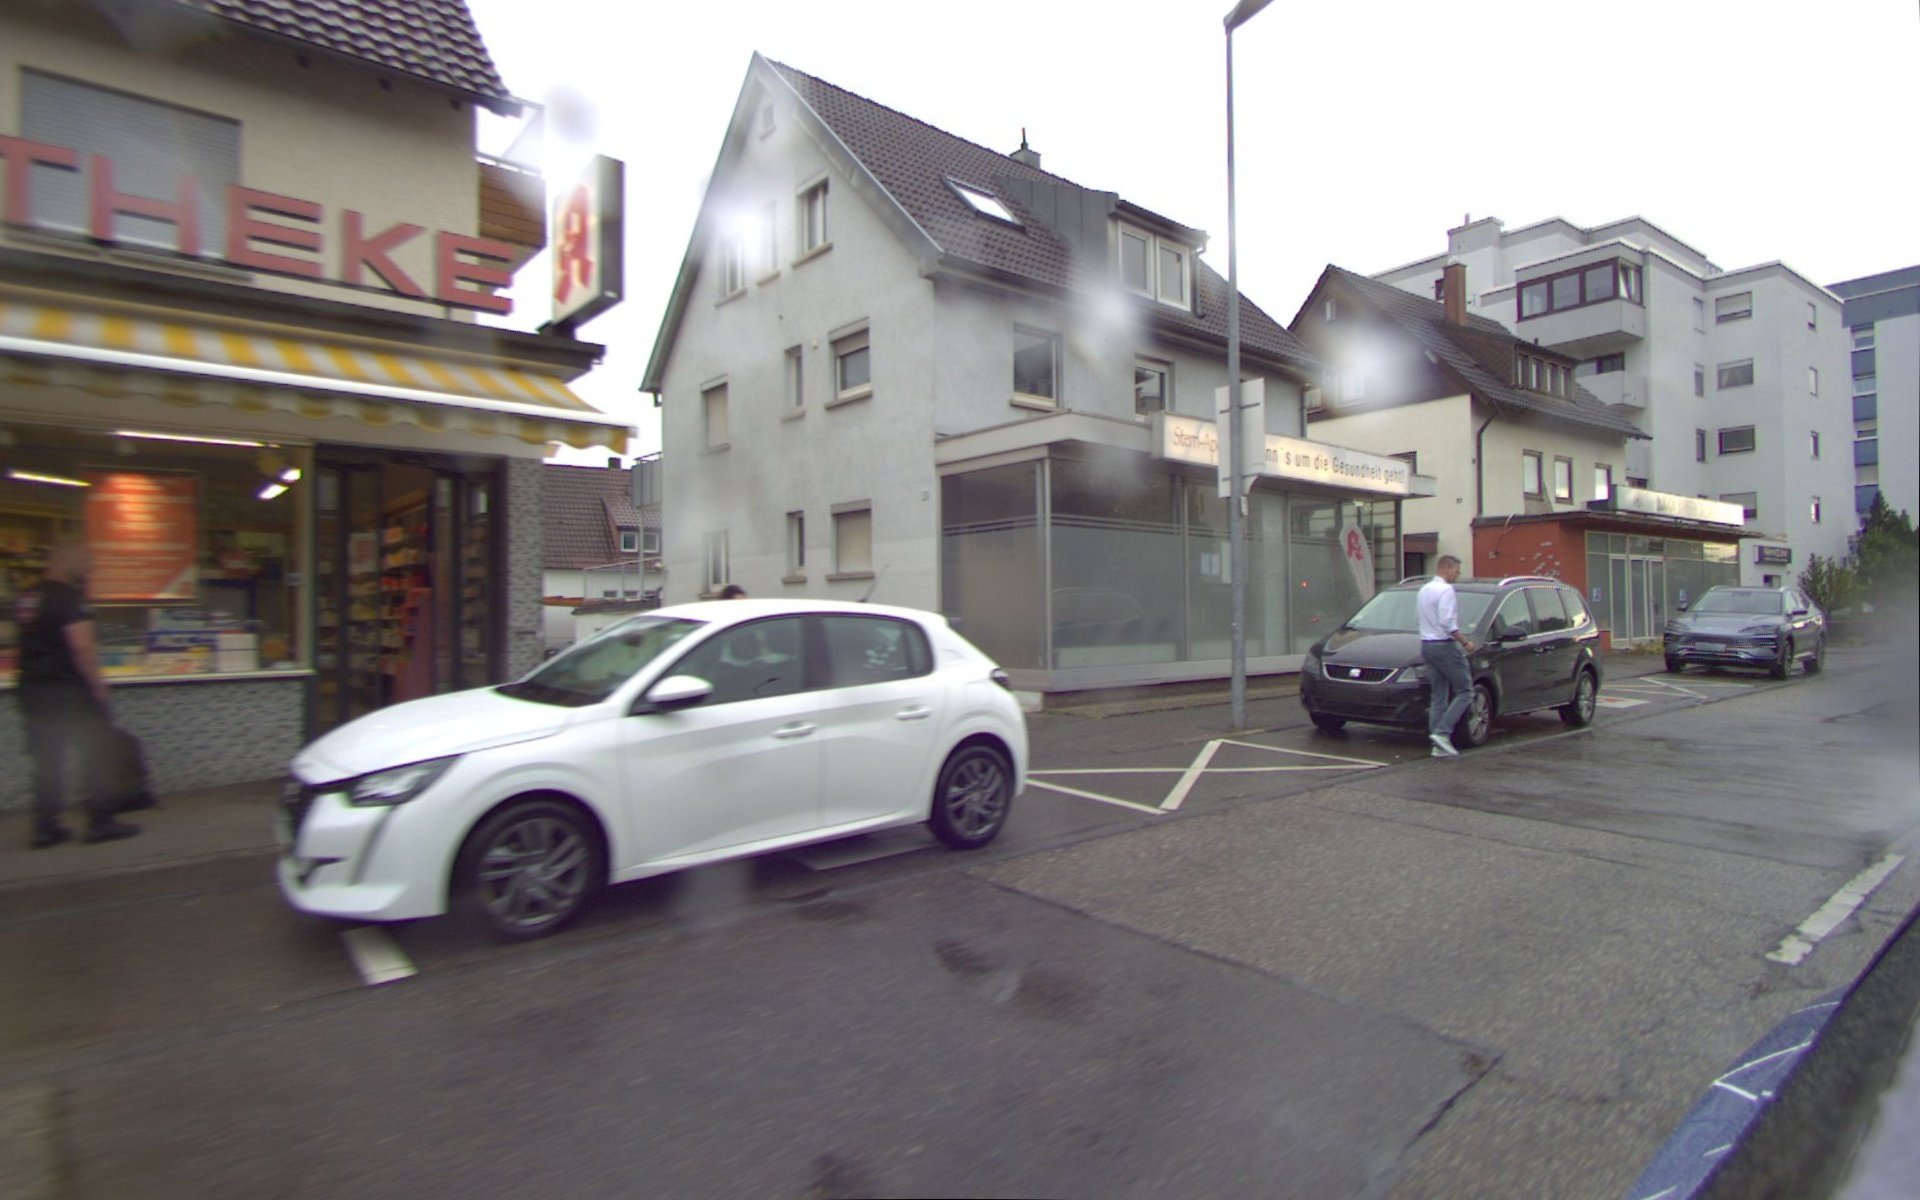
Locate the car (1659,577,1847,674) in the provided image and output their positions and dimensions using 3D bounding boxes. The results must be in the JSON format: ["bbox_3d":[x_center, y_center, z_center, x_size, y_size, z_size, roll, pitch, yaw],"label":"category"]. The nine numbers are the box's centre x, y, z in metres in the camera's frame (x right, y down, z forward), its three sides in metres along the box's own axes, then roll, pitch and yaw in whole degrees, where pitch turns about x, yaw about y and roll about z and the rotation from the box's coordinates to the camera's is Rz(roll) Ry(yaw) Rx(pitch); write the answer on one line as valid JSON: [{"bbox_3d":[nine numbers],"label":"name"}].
[{"bbox_3d":[15.640,0.393,19.882,4.706,1.663,1.880,-1,2,-39],"label":"car"}]

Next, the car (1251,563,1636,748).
[{"bbox_3d":[5.729,0.449,11.723,4.872,1.716,2.041,-1,2,-38],"label":"car"}]

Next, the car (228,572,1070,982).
[{"bbox_3d":[-1.488,0.613,5.652,4.128,1.466,1.819,0,1,-39],"label":"car"}]

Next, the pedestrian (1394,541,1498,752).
[{"bbox_3d":[4.566,0.424,9.546,0.634,1.915,0.624,0,-1,-3],"label":"pedestrian"}]

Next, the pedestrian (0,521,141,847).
[{"bbox_3d":[-5.010,0.438,5.602,0.543,1.700,0.514,0,-1,14],"label":"pedestrian"}]
